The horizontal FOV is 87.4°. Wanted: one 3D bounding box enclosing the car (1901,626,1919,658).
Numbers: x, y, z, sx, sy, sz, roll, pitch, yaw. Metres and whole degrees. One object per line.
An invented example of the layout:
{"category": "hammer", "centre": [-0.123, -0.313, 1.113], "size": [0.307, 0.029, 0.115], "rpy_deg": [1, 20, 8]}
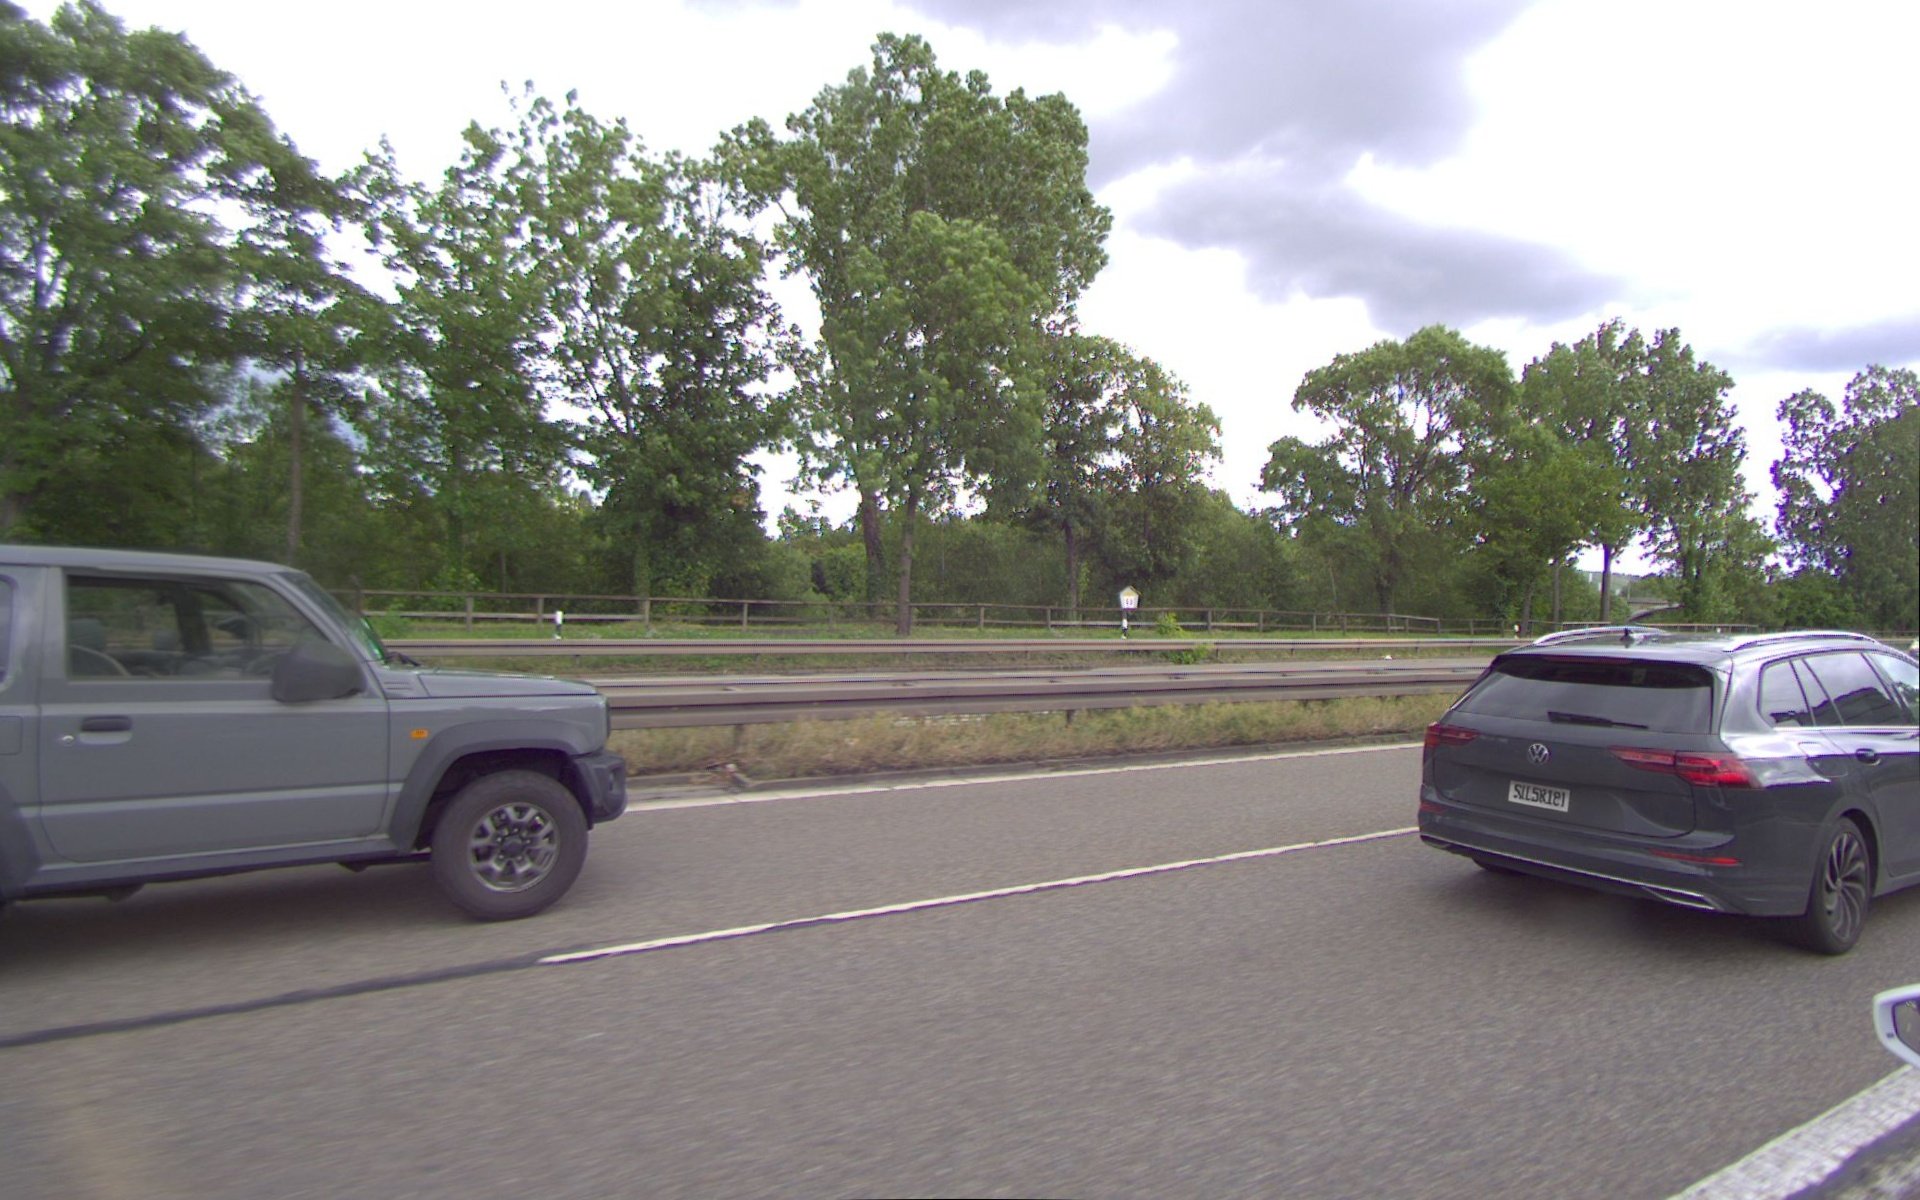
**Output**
{"category": "car", "centre": [45.139, 1.936, 46.390], "size": [3.692, 1.404, 1.605], "rpy_deg": [1, 1, -33]}

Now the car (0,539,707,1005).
{"category": "car", "centre": [-3.406, 0.658, 4.783], "size": [3.958, 1.708, 1.688], "rpy_deg": [1, -2, -33]}

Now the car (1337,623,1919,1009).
{"category": "car", "centre": [4.656, 0.914, 5.964], "size": [4.842, 1.442, 1.836], "rpy_deg": [1, 1, -30]}
